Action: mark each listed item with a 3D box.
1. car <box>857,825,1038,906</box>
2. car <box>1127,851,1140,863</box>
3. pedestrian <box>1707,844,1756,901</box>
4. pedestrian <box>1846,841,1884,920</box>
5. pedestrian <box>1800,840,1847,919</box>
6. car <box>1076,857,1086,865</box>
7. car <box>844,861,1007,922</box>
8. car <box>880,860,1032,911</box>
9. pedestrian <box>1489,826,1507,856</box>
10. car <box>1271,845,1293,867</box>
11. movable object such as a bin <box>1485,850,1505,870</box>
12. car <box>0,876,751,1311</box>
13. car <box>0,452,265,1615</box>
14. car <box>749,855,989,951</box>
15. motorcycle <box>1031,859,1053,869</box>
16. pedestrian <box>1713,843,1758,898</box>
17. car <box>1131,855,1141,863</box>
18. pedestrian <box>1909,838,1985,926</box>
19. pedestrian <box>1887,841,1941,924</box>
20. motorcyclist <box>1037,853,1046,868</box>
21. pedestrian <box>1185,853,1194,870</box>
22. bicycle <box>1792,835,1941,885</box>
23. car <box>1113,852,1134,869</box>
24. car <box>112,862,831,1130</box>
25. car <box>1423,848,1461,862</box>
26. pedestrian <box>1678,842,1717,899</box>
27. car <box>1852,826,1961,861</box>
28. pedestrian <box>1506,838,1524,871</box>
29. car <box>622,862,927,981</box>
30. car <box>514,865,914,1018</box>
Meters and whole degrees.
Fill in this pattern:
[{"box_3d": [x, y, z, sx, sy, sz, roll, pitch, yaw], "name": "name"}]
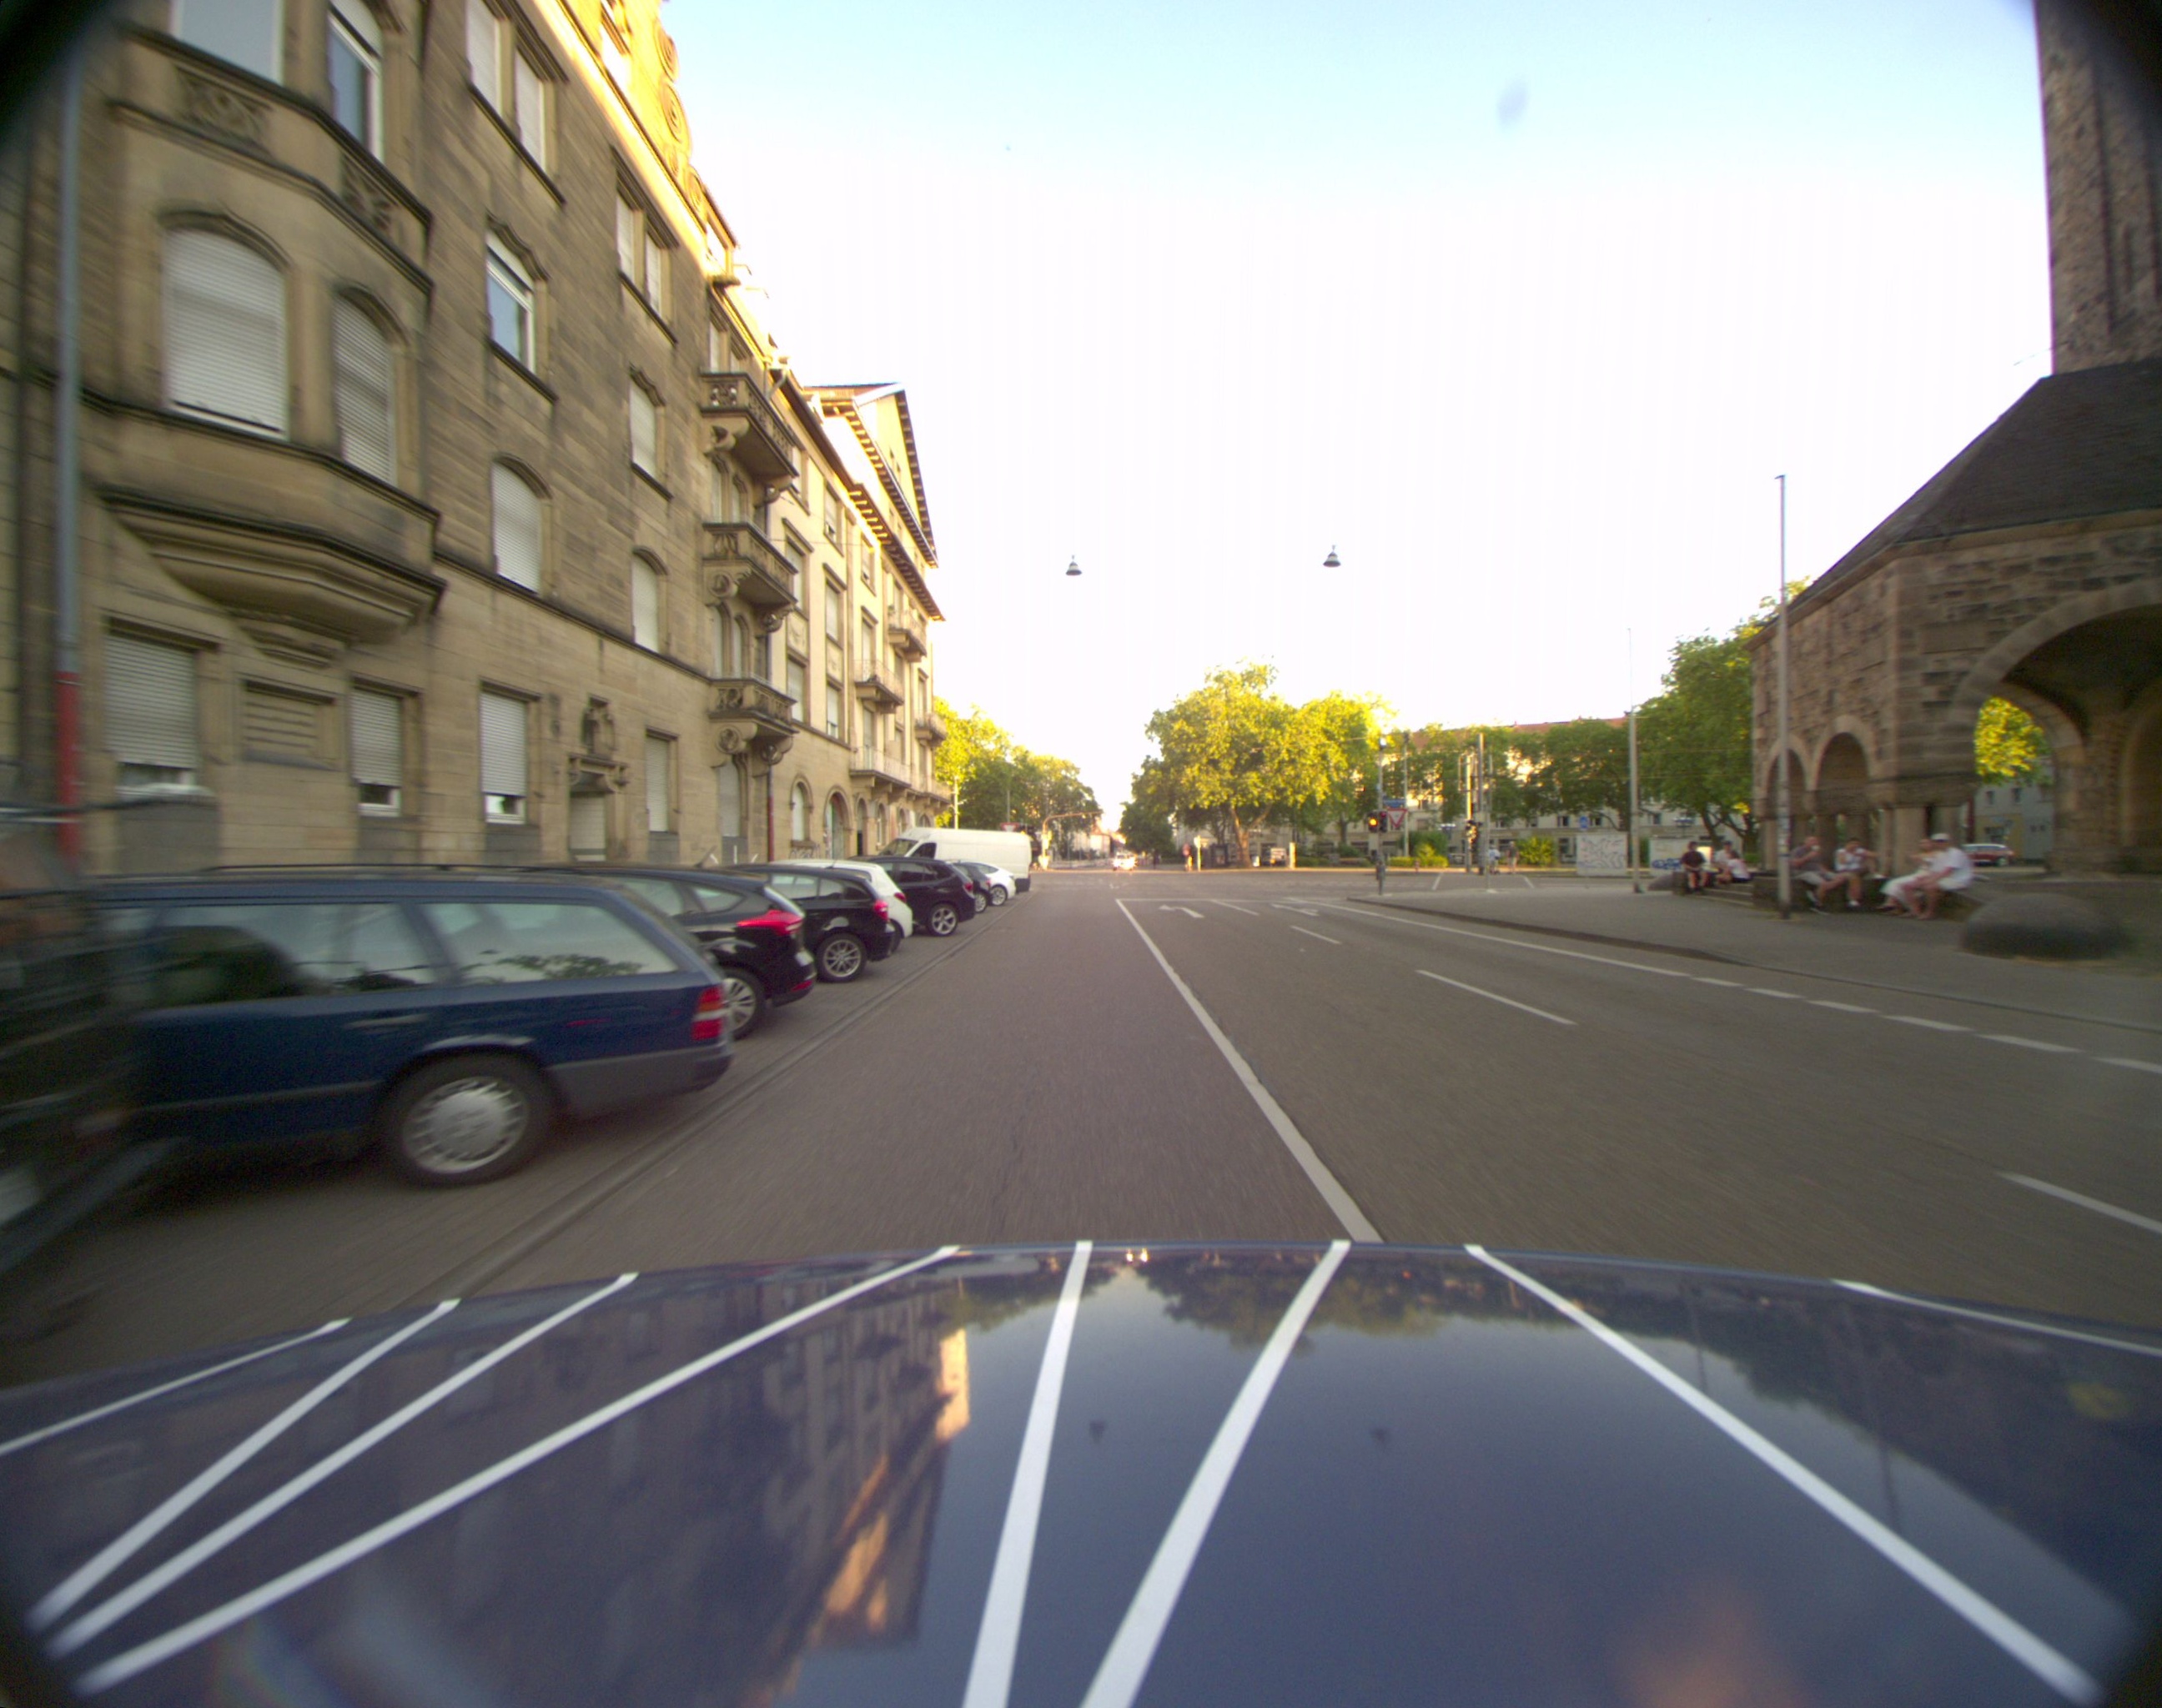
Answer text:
[{"box_3d": [-4.568, 0.341, 26.613, 5.897, 2.537, 2.189, 0, 2, -40], "name": "car"}, {"box_3d": [8.481, 0.430, 123.016, 1.991, 1.945, 4.597, -1, 0, 4], "name": "car"}, {"box_3d": [16.052, 0.454, 18.749, 0.700, 1.366, 0.801, -1, 1, -38], "name": "pedestrian"}, {"box_3d": [14.310, 0.474, 13.876, 0.401, 1.398, 0.549, 0, 1, 36], "name": "pedestrian"}, {"box_3d": [13.800, 0.463, 14.139, 0.549, 1.445, 0.559, 0, 1, 36], "name": "pedestrian"}, {"box_3d": [0.055, 1.395, 155.580, 1.794, 1.571, 4.001, -1, 0, 4], "name": "car"}, {"box_3d": [-4.191, 0.954, 20.747, 3.925, 1.438, 1.869, 1, 2, -39], "name": "car"}, {"box_3d": [-3.884, 0.928, 23.891, 4.263, 1.445, 1.994, 0, 1, -38], "name": "car"}, {"box_3d": [23.501, -0.723, 42.823, 0.718, 1.624, 1.008, -1, 0, 21], "name": "pedestrian"}, {"box_3d": [18.618, 0.162, 70.351, 1.865, 2.002, 3.815, -1, 0, 16], "name": "car"}, {"box_3d": [23.922, 0.337, 43.909, 0.860, 1.113, 1.139, -1, 0, 22], "name": "movable object such as a bin"}, {"box_3d": [-4.078, 0.885, 3.617, 4.406, 1.478, 1.839, 2, 0, -30], "name": "car"}, {"box_3d": [-4.531, 0.405, 0.689, 4.732, 2.532, 1.914, -1, 1, -28], "name": "car"}, {"box_3d": [-4.051, 0.866, 14.829, 4.107, 1.598, 1.811, 1, 1, -37], "name": "car"}, {"box_3d": [-4.079, 1.050, 79.886, 2.288, 0.917, 0.622, -1, 0, -25], "name": "motorcycle"}, {"box_3d": [16.690, 0.399, 19.388, 0.801, 1.366, 0.701, 0, 1, 34], "name": "pedestrian"}, {"box_3d": [10.797, 0.918, 149.543, 1.827, 1.565, 4.001, -1, 0, 5], "name": "car"}, {"box_3d": [14.262, 0.452, 12.533, 0.702, 1.398, 0.633, 0, 1, 36], "name": "pedestrian"}, {"box_3d": [14.470, 0.485, 13.207, 0.546, 1.398, 0.459, 0, 1, 36], "name": "pedestrian"}, {"box_3d": [-4.139, 0.704, 79.874, 0.830, 1.510, 0.621, -1, 1, -25], "name": "motorcyclist"}, {"box_3d": [10.637, 0.745, 74.768, 0.745, 1.619, 0.660, -1, 1, 18], "name": "pedestrian"}, {"box_3d": [17.406, 0.138, 16.896, 2.281, 1.051, 0.596, -1, 1, 18], "name": "bicycle"}, {"box_3d": [3.969, 0.598, 70.914, 1.840, 1.549, 4.001, -1, 0, 4], "name": "car"}, {"box_3d": [-4.366, 0.878, 6.306, 4.128, 1.537, 1.790, 0, 2, -27], "name": "car"}, {"box_3d": [44.797, 0.078, 94.374, 3.989, 1.696, 2.004, -1, 0, 34], "name": "car"}, {"box_3d": [16.023, 0.426, 19.764, 0.628, 1.445, 0.917, 0, 1, 27], "name": "pedestrian"}, {"box_3d": [65.427, -0.787, 60.362, 5.566, 2.603, 2.003, -1, 0, 24], "name": "car"}, {"box_3d": [24.226, 0.016, 42.427, 0.709, 1.836, 1.161, -1, 0, 21], "name": "pedestrian"}, {"box_3d": [-4.650, 0.924, 11.746, 4.066, 1.489, 1.749, 1, 1, -35], "name": "car"}, {"box_3d": [-4.325, 0.913, 9.279, 4.042, 1.423, 1.863, 2, 0, -33], "name": "car"}]
